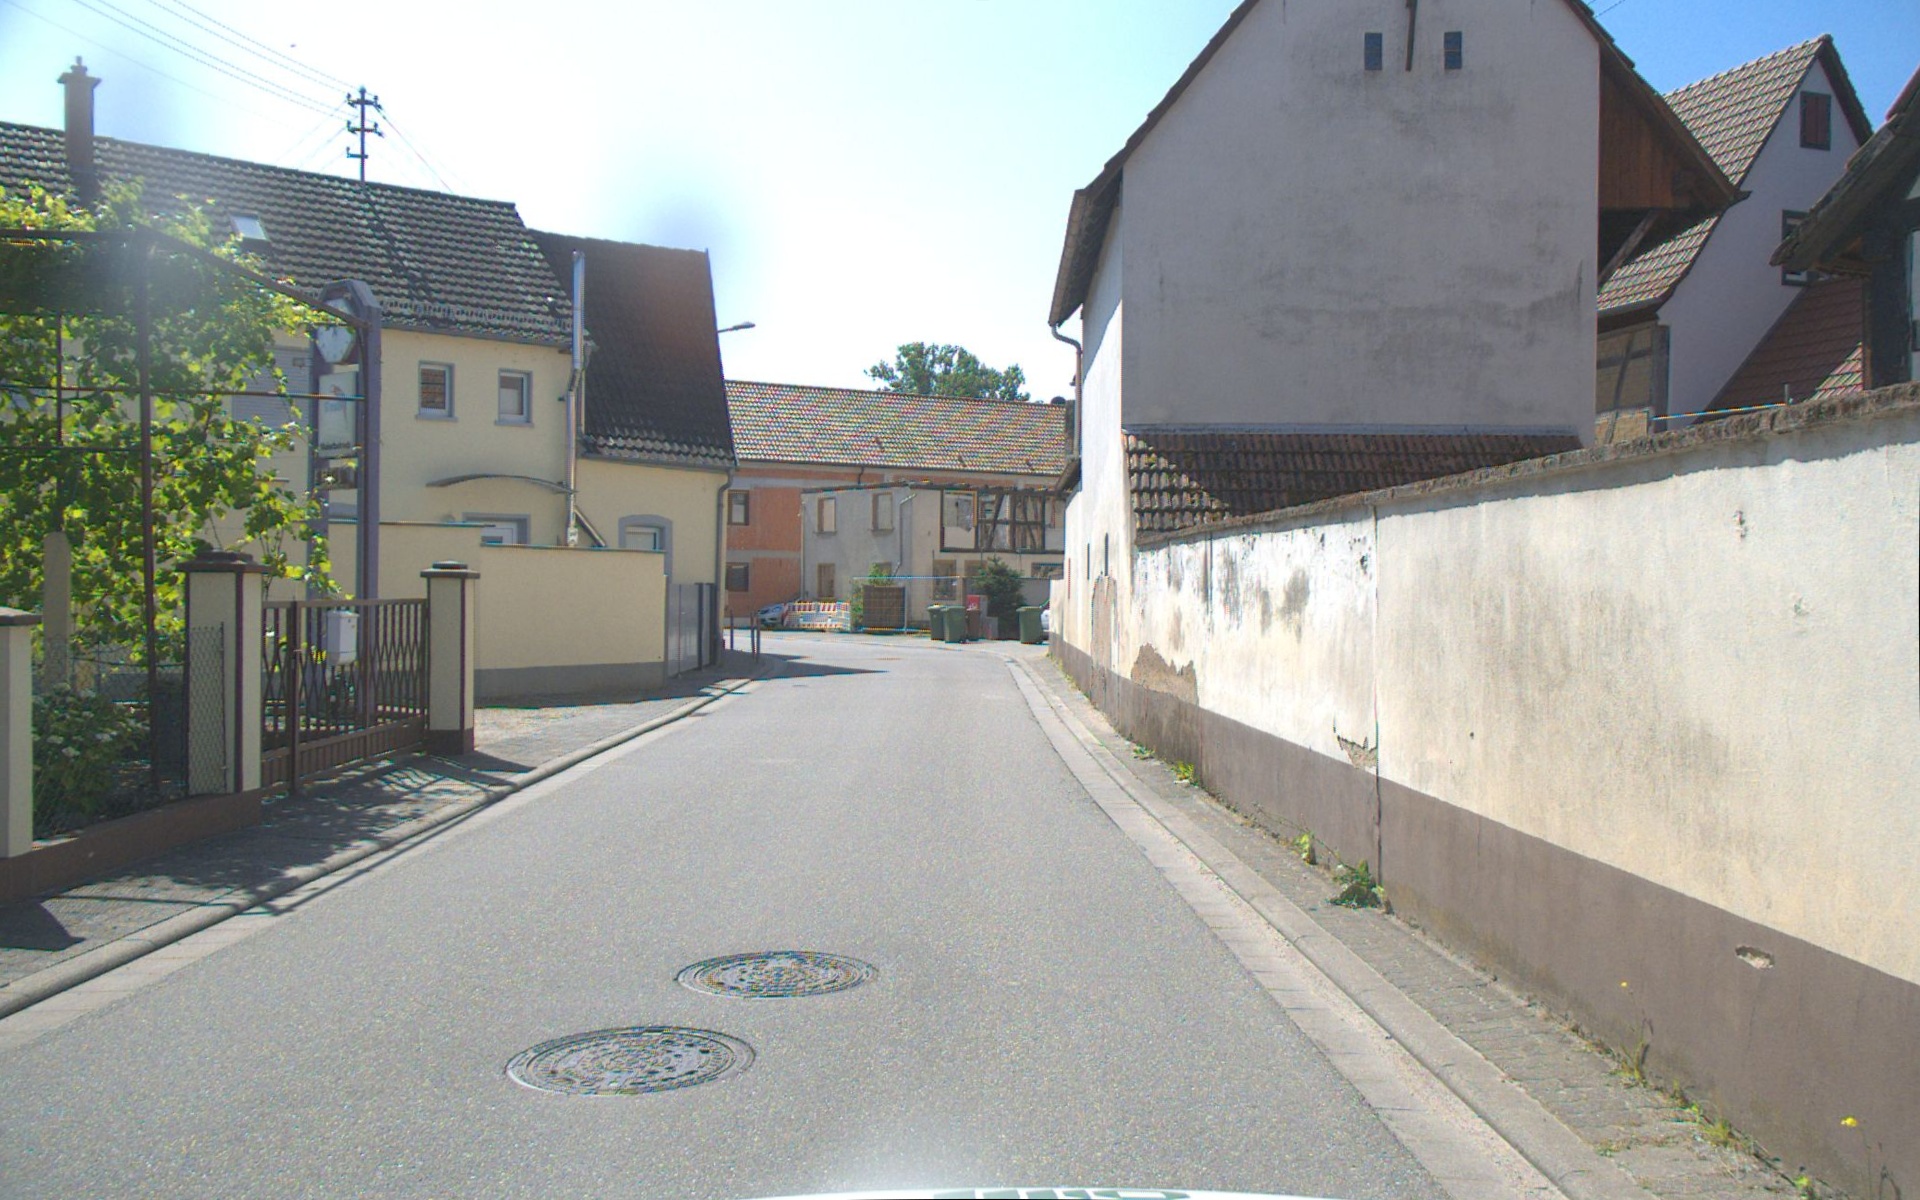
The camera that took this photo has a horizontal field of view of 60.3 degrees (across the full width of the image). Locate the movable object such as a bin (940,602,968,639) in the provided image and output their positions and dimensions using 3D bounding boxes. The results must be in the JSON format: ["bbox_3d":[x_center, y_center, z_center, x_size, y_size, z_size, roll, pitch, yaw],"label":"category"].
[{"bbox_3d":[-0.176,0.629,50.393,0.677,1.111,0.633,0,0,-23],"label":"movable object such as a bin"}]

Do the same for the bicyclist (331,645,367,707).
[{"bbox_3d":[-5.942,0.737,16.087,0.241,0.592,0.218,1,-1,15],"label":"bicyclist"}]

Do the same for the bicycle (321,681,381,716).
[{"bbox_3d":[-5.916,0.955,16.070,0.522,0.310,0.220,0,0,15],"label":"bicycle"}]

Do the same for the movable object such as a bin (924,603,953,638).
[{"bbox_3d":[-0.679,0.637,52.657,0.657,1.091,0.761,0,0,27],"label":"movable object such as a bin"}]

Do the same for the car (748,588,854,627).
[{"bbox_3d":[-6.585,0.276,68.601,4.057,1.533,1.846,-1,1,-36],"label":"car"}]

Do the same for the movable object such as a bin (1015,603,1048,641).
[{"bbox_3d":[2.122,0.647,49.338,0.711,1.100,0.749,0,0,-26],"label":"movable object such as a bin"}]

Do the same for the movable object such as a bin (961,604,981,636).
[{"bbox_3d":[0.341,0.620,51.810,0.458,0.987,0.492,0,0,-23],"label":"movable object such as a bin"}]

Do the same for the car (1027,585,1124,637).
[{"bbox_3d":[3.605,0.320,52.295,1.781,1.555,4.279,0,1,-15],"label":"car"}]
